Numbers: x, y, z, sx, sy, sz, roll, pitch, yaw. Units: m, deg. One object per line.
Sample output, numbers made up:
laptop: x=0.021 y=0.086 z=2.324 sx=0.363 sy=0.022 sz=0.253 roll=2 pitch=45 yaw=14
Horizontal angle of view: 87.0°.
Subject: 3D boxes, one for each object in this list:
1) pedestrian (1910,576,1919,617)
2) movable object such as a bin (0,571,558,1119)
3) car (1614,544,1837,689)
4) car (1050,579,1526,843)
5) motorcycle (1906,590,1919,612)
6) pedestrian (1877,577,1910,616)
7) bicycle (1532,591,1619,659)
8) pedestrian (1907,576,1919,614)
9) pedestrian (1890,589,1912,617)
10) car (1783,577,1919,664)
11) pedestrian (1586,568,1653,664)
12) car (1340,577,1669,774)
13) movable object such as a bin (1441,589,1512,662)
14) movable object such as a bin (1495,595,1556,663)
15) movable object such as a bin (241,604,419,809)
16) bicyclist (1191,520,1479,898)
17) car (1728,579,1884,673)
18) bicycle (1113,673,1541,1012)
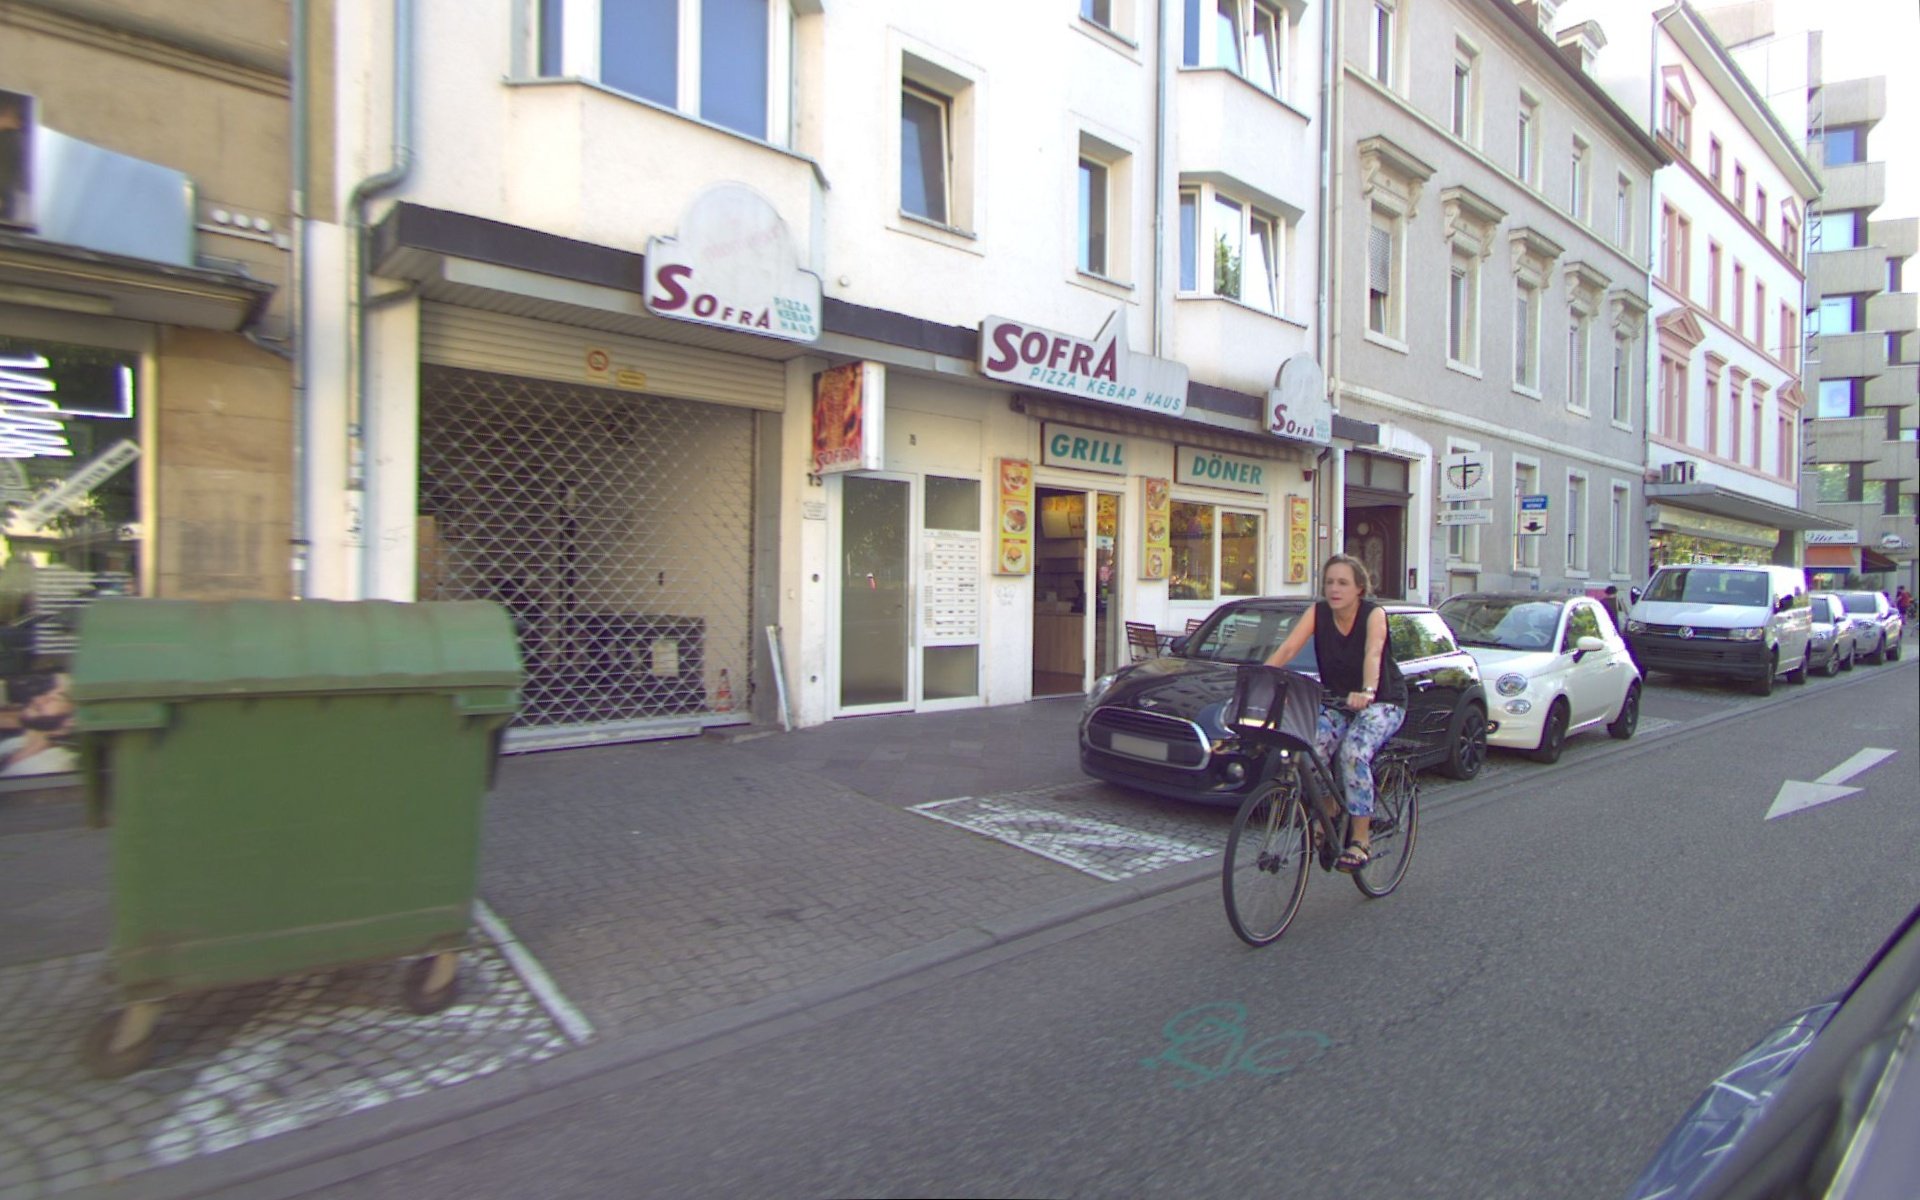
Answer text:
pedestrian: x=45.015 y=-0.169 z=47.317 sx=0.599 sy=1.878 sz=0.673 roll=-1 pitch=4 yaw=-37
movable object such as a bin: x=-2.361 y=0.675 z=3.627 sx=1.464 sy=1.475 sz=1.077 roll=1 pitch=3 yaw=-35
car: x=12.668 y=0.212 z=16.605 sx=5.029 sy=2.030 sz=1.996 roll=0 pitch=1 yaw=-42
car: x=2.596 y=0.612 z=7.621 sx=3.718 sy=1.466 sz=1.681 roll=-2 pitch=1 yaw=-40
motorcycle: x=54.110 y=0.065 z=56.874 sx=2.007 sy=1.168 sz=0.767 roll=-1 pitch=4 yaw=-31
pedestrian: x=43.127 y=-0.181 z=46.761 sx=0.834 sy=1.731 sz=0.715 roll=3 pitch=2 yaw=22
bicycle: x=11.785 y=0.467 z=19.378 sx=1.684 sy=1.200 sz=0.486 roll=-1 pitch=3 yaw=-22
pedestrian: x=44.414 y=-0.221 z=46.946 sx=0.685 sy=1.736 sz=0.585 roll=-1 pitch=0 yaw=-37
pedestrian: x=44.607 y=0.140 z=47.980 sx=0.613 sy=1.251 sz=0.632 roll=-1 pitch=3 yaw=-37
car: x=20.481 y=0.395 z=23.122 sx=4.874 sy=1.760 sz=1.748 roll=-2 pitch=1 yaw=-41
pedestrian: x=11.984 y=0.273 z=18.402 sx=0.450 sy=1.625 sz=0.752 roll=-1 pitch=8 yaw=-39
car: x=5.539 y=0.584 z=10.154 sx=3.520 sy=1.533 sz=1.722 roll=-2 pitch=4 yaw=-41
movable object such as a bin: x=8.646 y=0.406 z=16.957 sx=0.686 sy=1.151 sz=0.841 roll=-1 pitch=2 yaw=-37
movable object such as a bin: x=10.157 y=0.501 z=18.184 sx=0.568 sy=1.175 sz=0.770 roll=-1 pitch=0 yaw=-37
movable object such as a bin: x=-3.936 y=0.604 z=6.308 sx=0.814 sy=1.137 sz=0.878 roll=-1 pitch=0 yaw=-40
bicyclist: x=1.708 y=0.412 z=4.589 sx=1.077 sy=1.471 sz=0.787 roll=-1 pitch=0 yaw=-41
car: x=16.526 y=0.422 z=19.732 sx=3.690 sy=1.624 sz=1.703 roll=-2 pitch=2 yaw=-40
bicycle: x=1.829 y=0.934 z=4.680 sx=2.651 sy=0.970 sz=0.653 roll=-2 pitch=1 yaw=-41
